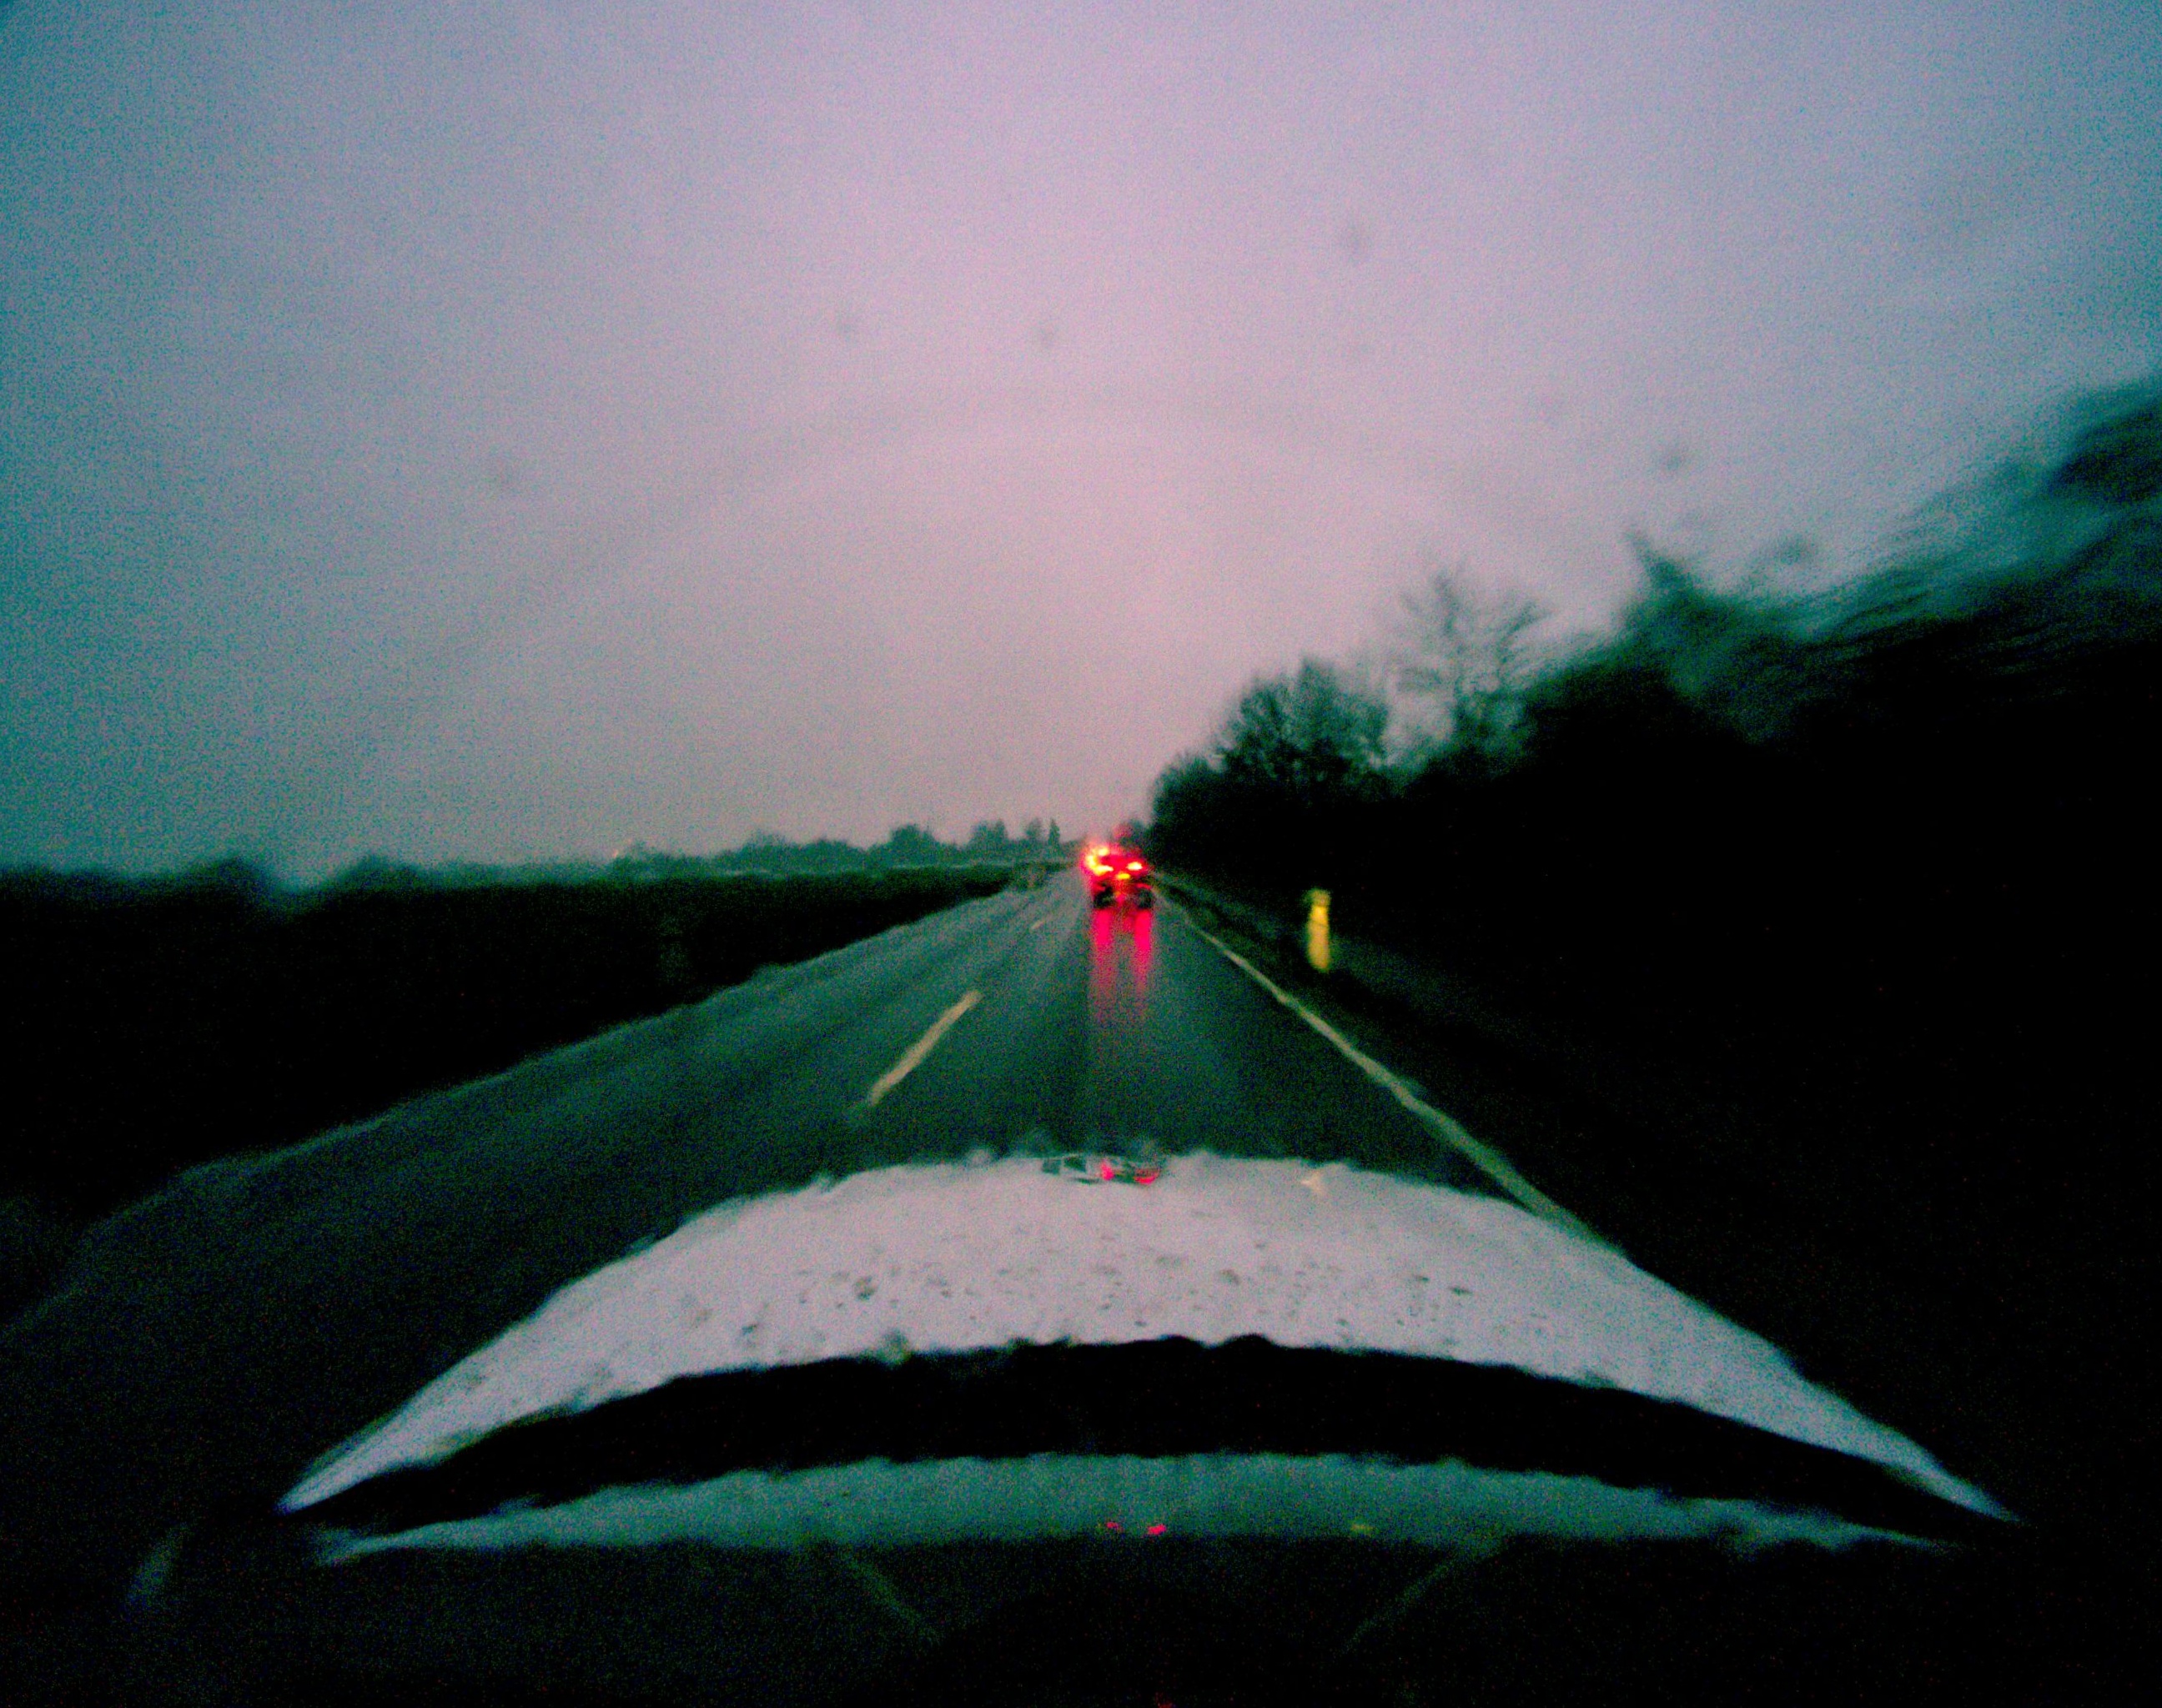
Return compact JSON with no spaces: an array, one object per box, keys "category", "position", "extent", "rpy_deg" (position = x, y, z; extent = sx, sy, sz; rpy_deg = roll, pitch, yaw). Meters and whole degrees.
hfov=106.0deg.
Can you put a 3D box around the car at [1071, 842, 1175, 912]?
[{"category":"car","position":[1.426,0.688,28.608],"extent":[3.152,2.035,6.855],"rpy_deg":[-2,0,2]}]

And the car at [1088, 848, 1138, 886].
[{"category":"car","position":[1.920,0.726,49.026],"extent":[2.745,2.035,6.594],"rpy_deg":[-2,0,2]}]
